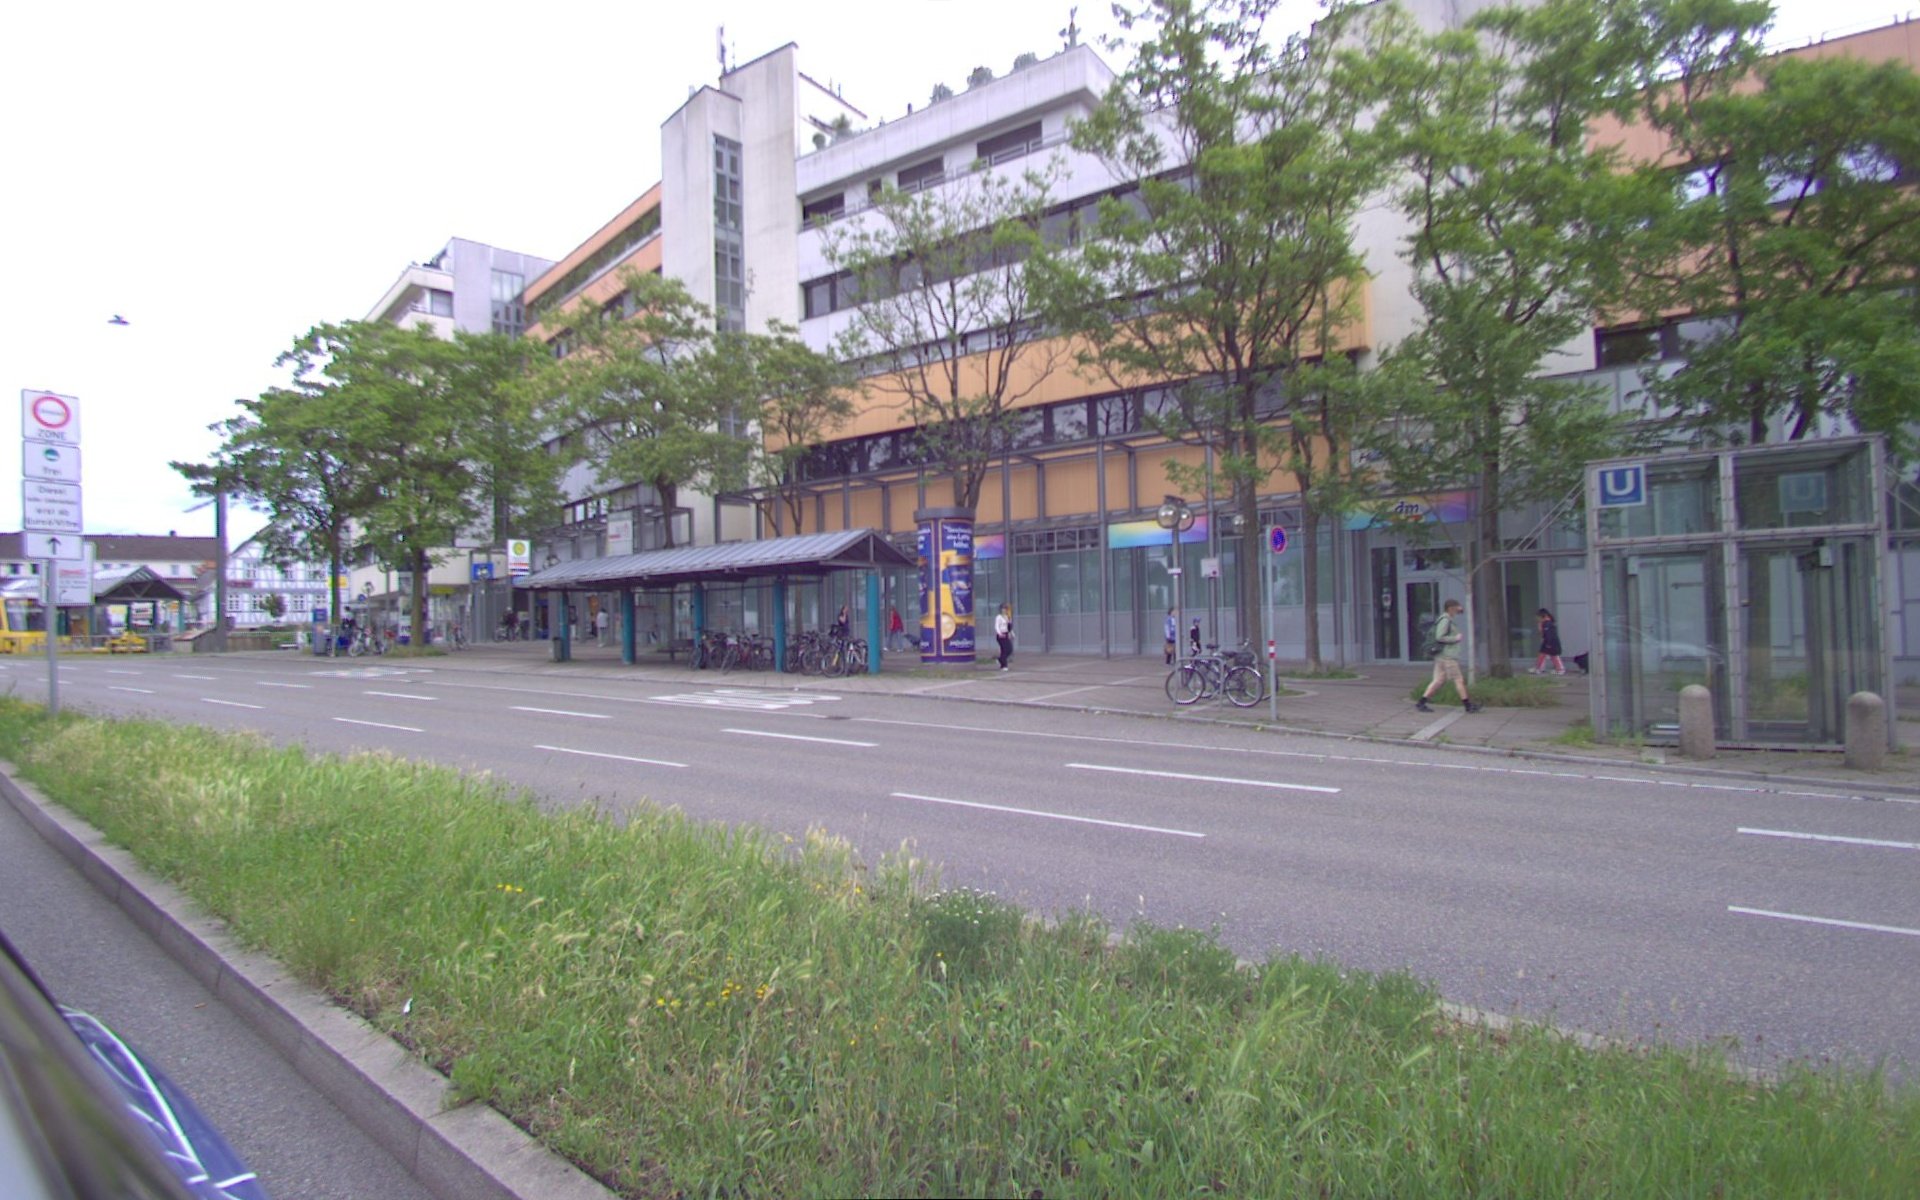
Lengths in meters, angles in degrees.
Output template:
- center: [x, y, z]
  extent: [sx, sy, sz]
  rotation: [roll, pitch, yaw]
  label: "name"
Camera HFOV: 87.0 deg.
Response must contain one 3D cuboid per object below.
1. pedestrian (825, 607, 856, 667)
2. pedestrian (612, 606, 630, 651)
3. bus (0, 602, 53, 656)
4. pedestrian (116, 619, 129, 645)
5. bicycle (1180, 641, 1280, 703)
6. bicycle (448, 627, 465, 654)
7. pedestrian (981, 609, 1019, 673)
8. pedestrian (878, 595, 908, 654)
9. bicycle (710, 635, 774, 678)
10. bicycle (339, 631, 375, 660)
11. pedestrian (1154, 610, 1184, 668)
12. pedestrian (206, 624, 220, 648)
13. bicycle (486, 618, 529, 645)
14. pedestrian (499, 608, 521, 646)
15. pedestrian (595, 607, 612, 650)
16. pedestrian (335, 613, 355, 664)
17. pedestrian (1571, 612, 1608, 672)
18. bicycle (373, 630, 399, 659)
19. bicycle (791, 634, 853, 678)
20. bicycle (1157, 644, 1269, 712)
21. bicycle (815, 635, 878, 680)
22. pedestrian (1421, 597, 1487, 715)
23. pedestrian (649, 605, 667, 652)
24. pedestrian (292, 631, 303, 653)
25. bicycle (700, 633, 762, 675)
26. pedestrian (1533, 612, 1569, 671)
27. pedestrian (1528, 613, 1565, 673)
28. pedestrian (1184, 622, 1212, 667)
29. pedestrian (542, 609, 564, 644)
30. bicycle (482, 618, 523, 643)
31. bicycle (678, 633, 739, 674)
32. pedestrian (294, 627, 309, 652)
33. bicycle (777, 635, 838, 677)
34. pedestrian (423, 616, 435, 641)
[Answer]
- center: [-3.625, 1.119, 30.656]
  extent: [0.769, 1.800, 0.525]
  rotation: [-1, -2, 33]
  label: "pedestrian"
- center: [-15.207, 1.279, 45.401]
  extent: [0.558, 2.029, 0.611]
  rotation: [1, -2, -44]
  label: "pedestrian"
- center: [-55.978, 1.681, 58.619]
  extent: [8.470, 3.006, 2.530]
  rotation: [-1, -2, 29]
  label: "bus"
- center: [-67.545, 2.592, 81.634]
  extent: [0.731, 2.029, 0.940]
  rotation: [1, -2, -39]
  label: "pedestrian"
- center: [4.986, 1.309, 18.790]
  extent: [1.737, 1.074, 0.542]
  rotation: [-2, -1, 45]
  label: "bicycle"
- center: [-21.348, 1.703, 42.931]
  extent: [0.584, 1.134, 2.044]
  rotation: [1, -1, -26]
  label: "bicycle"
- center: [1.048, 1.066, 26.548]
  extent: [0.721, 1.662, 0.669]
  rotation: [-1, -1, 37]
  label: "pedestrian"
- center: [-2.316, 0.837, 35.064]
  extent: [0.791, 2.029, 0.703]
  rotation: [-1, 0, 31]
  label: "pedestrian"
- center: [-5.957, 1.525, 27.723]
  extent: [0.549, 1.048, 1.714]
  rotation: [-2, 1, 38]
  label: "bicycle"
- center: [-23.610, 1.762, 39.653]
  extent: [0.585, 1.085, 2.042]
  rotation: [0, -1, -12]
  label: "bicycle"
- center: [5.581, 1.041, 26.995]
  extent: [0.620, 1.515, 0.563]
  rotation: [-1, -2, 31]
  label: "pedestrian"
- center: [-48.722, 2.358, 65.998]
  extent: [0.581, 1.554, 0.570]
  rotation: [-1, -2, 32]
  label: "pedestrian"
- center: [-24.944, 1.720, 55.790]
  extent: [2.107, 1.385, 0.621]
  rotation: [-1, 0, -31]
  label: "bicycle"
- center: [-22.332, 1.355, 50.201]
  extent: [0.752, 1.859, 0.755]
  rotation: [-1, -2, 41]
  label: "pedestrian"
- center: [-15.470, 1.238, 43.908]
  extent: [0.639, 1.823, 0.761]
  rotation: [0, -2, -16]
  label: "pedestrian"
- center: [-28.328, 1.776, 46.644]
  extent: [0.608, 2.325, 0.583]
  rotation: [-1, -2, 39]
  label: "pedestrian"
- center: [14.784, 0.981, 23.764]
  extent: [0.694, 1.385, 0.578]
  rotation: [-1, -2, 34]
  label: "pedestrian"
- center: [-22.744, 1.749, 40.111]
  extent: [0.584, 1.085, 2.044]
  rotation: [0, -1, -21]
  label: "bicycle"
- center: [-3.611, 1.454, 26.594]
  extent: [0.549, 1.048, 1.714]
  rotation: [-2, 0, 38]
  label: "bicycle"
- center: [4.370, 1.320, 17.599]
  extent: [0.802, 1.068, 1.739]
  rotation: [0, -1, -40]
  label: "bicycle"
- center: [-2.902, 1.470, 26.061]
  extent: [0.549, 1.048, 1.714]
  rotation: [-2, 0, 38]
  label: "bicycle"
- center: [7.927, 0.882, 16.272]
  extent: [0.916, 1.846, 0.533]
  rotation: [-1, -2, 25]
  label: "pedestrian"
- center: [-13.314, 1.245, 44.609]
  extent: [0.558, 2.029, 0.611]
  rotation: [1, -2, -44]
  label: "pedestrian"
- center: [-34.970, 2.223, 53.420]
  extent: [0.368, 1.188, 0.338]
  rotation: [-1, -2, 31]
  label: "pedestrian"
- center: [-6.452, 1.508, 28.585]
  extent: [0.549, 1.048, 1.714]
  rotation: [-2, 1, 38]
  label: "bicycle"
- center: [14.212, 0.988, 24.320]
  extent: [0.694, 1.385, 0.578]
  rotation: [-1, -2, 34]
  label: "pedestrian"
- center: [13.793, 0.994, 23.784]
  extent: [0.694, 1.385, 0.578]
  rotation: [-1, -2, 34]
  label: "pedestrian"
- center: [6.435, 1.187, 27.341]
  extent: [0.620, 1.190, 0.418]
  rotation: [-1, -2, 31]
  label: "pedestrian"
- center: [-19.673, 1.289, 48.921]
  extent: [0.752, 1.695, 0.755]
  rotation: [-1, -2, 41]
  label: "pedestrian"
- center: [-26.092, 1.731, 57.768]
  extent: [2.106, 1.377, 0.621]
  rotation: [-1, 0, -24]
  label: "bicycle"
- center: [-7.230, 1.531, 29.150]
  extent: [0.549, 1.048, 1.714]
  rotation: [-2, 0, 38]
  label: "bicycle"
- center: [-41.798, 2.491, 64.217]
  extent: [0.581, 1.554, 0.570]
  rotation: [-1, -2, 32]
  label: "pedestrian"
- center: [-4.135, 1.511, 27.561]
  extent: [0.549, 1.048, 1.714]
  rotation: [-2, -1, 38]
  label: "bicycle"
- center: [-31.769, 1.686, 60.535]
  extent: [0.548, 1.506, 0.454]
  rotation: [1, -2, -41]
  label: "pedestrian"
